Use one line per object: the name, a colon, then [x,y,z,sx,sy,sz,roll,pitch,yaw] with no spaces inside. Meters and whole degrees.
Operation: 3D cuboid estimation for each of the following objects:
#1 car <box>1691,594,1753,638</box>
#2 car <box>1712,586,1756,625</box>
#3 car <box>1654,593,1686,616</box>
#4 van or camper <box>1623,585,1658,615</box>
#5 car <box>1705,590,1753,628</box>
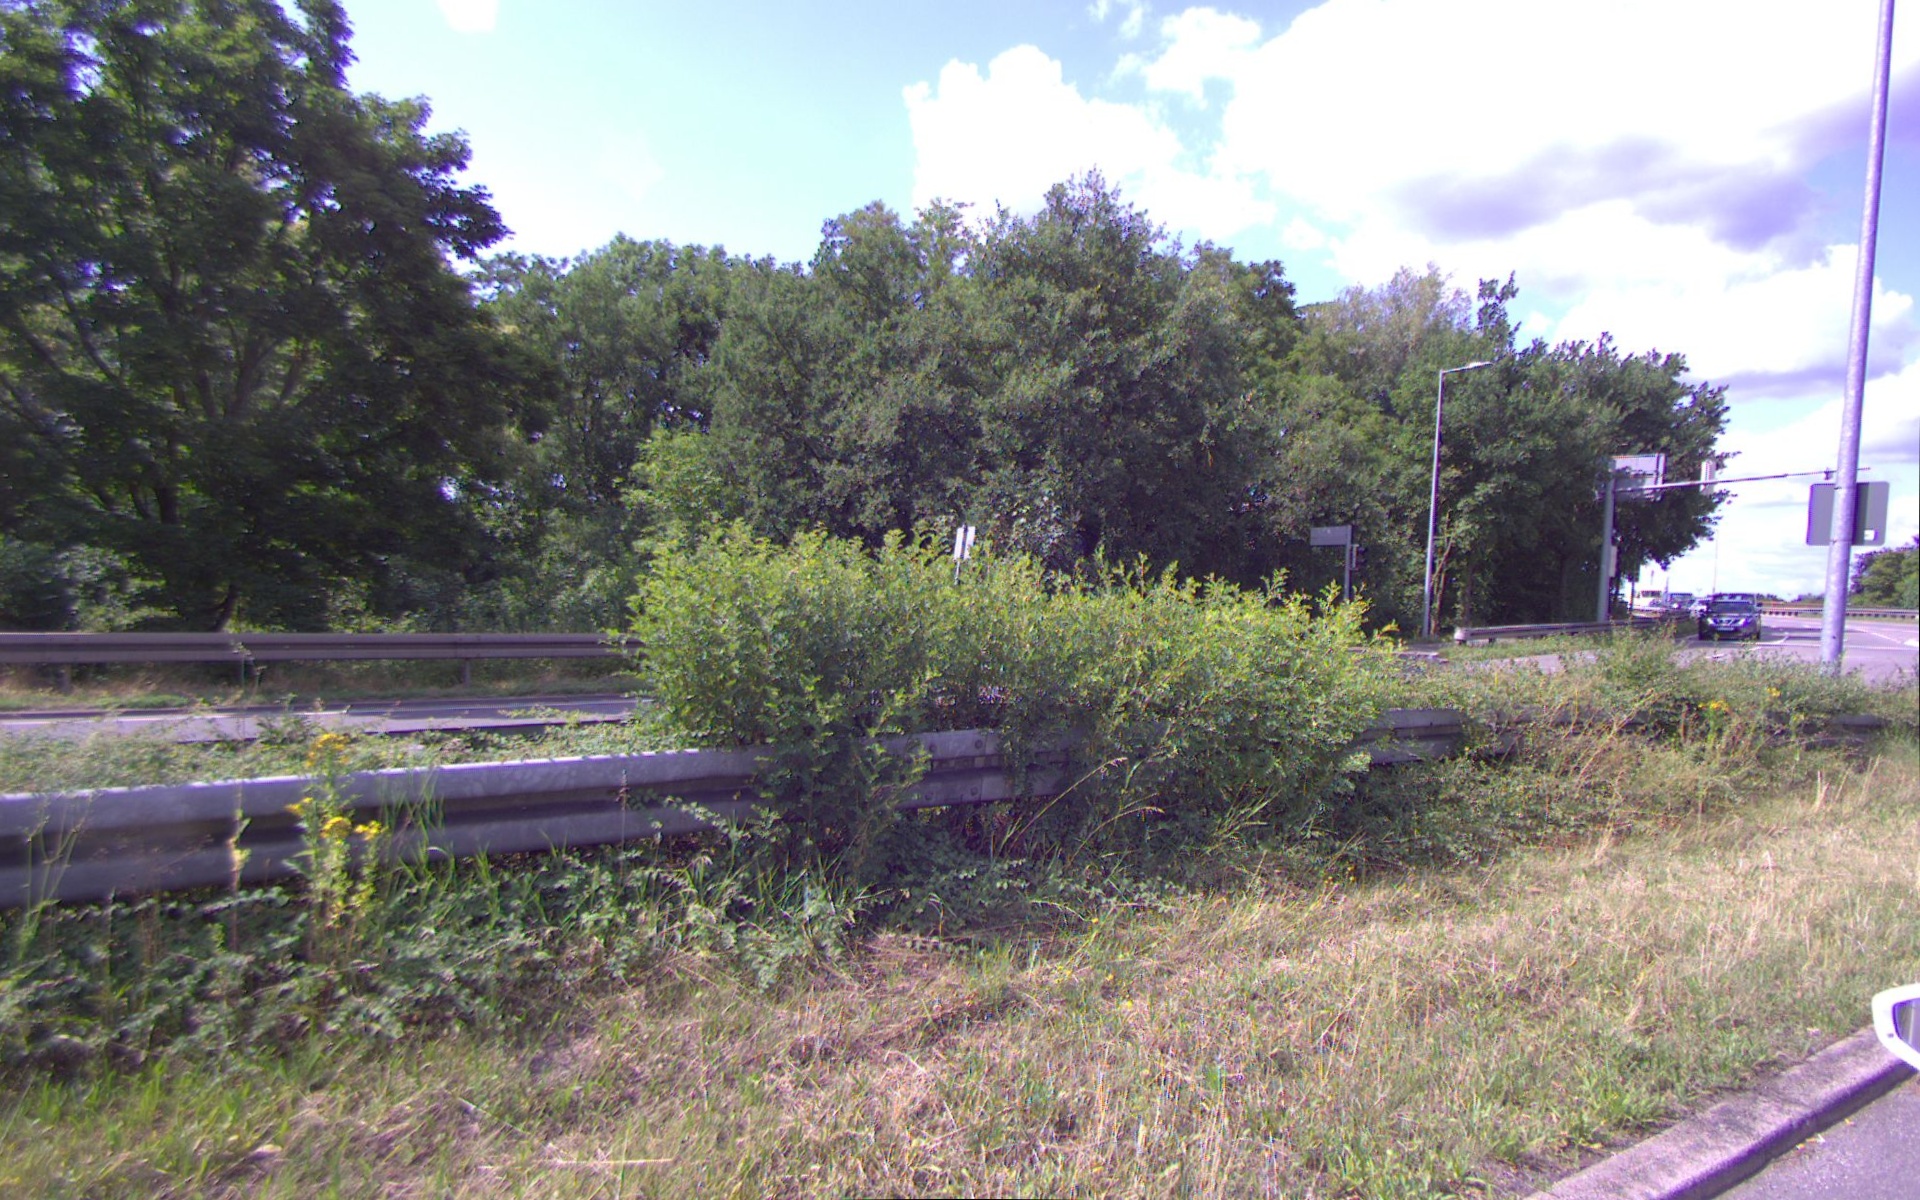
car: [30.680,0.651,40.415,1.816,1.639,3.982,2,0,39]
car: [44.840,0.292,58.267,1.819,2.128,4.311,2,1,36]
car: [58.004,0.346,82.087,1.817,1.728,4.316,2,1,32]
van or camper: [64.662,-0.001,95.534,1.963,2.719,6.852,2,1,28]
car: [39.935,0.445,52.132,1.820,1.826,4.307,2,1,39]
